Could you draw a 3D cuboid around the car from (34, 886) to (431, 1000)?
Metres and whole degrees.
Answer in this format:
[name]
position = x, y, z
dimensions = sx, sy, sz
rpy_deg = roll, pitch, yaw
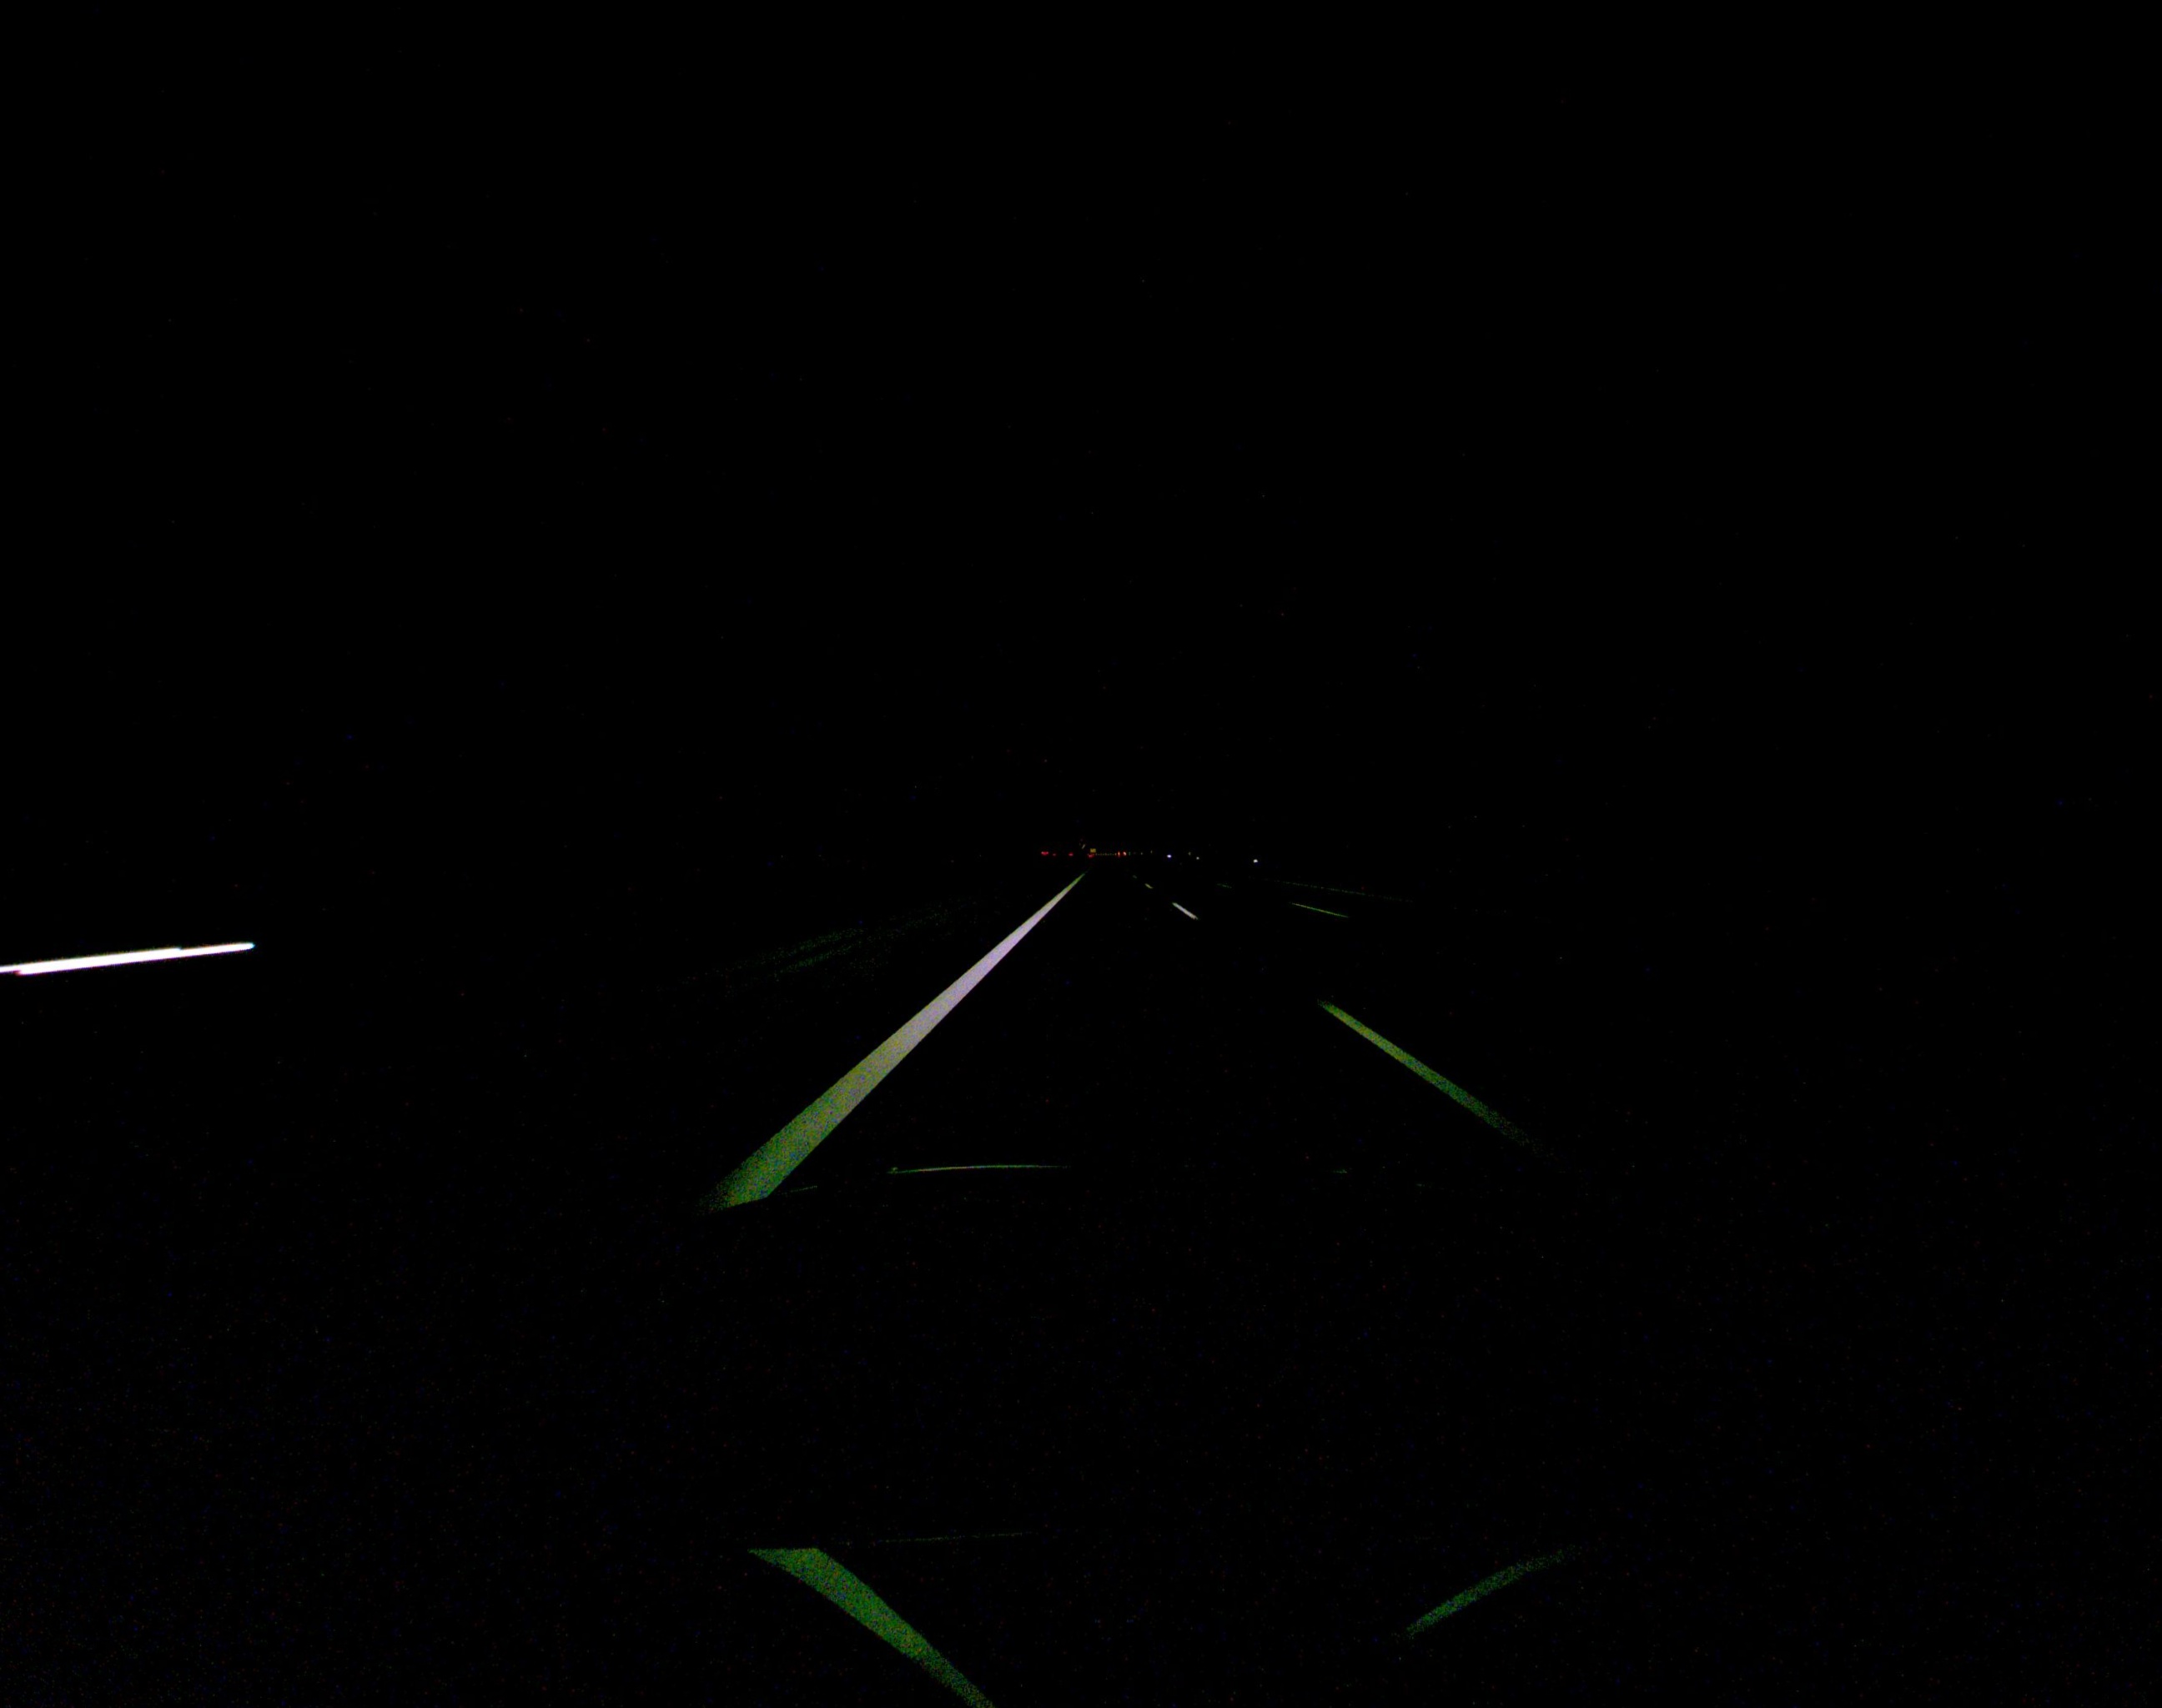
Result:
[car]
position = -15.543, 1.511, 15.521
dimensions = 1.986, 1.503, 5.202
rpy_deg = -3, 0, 1
